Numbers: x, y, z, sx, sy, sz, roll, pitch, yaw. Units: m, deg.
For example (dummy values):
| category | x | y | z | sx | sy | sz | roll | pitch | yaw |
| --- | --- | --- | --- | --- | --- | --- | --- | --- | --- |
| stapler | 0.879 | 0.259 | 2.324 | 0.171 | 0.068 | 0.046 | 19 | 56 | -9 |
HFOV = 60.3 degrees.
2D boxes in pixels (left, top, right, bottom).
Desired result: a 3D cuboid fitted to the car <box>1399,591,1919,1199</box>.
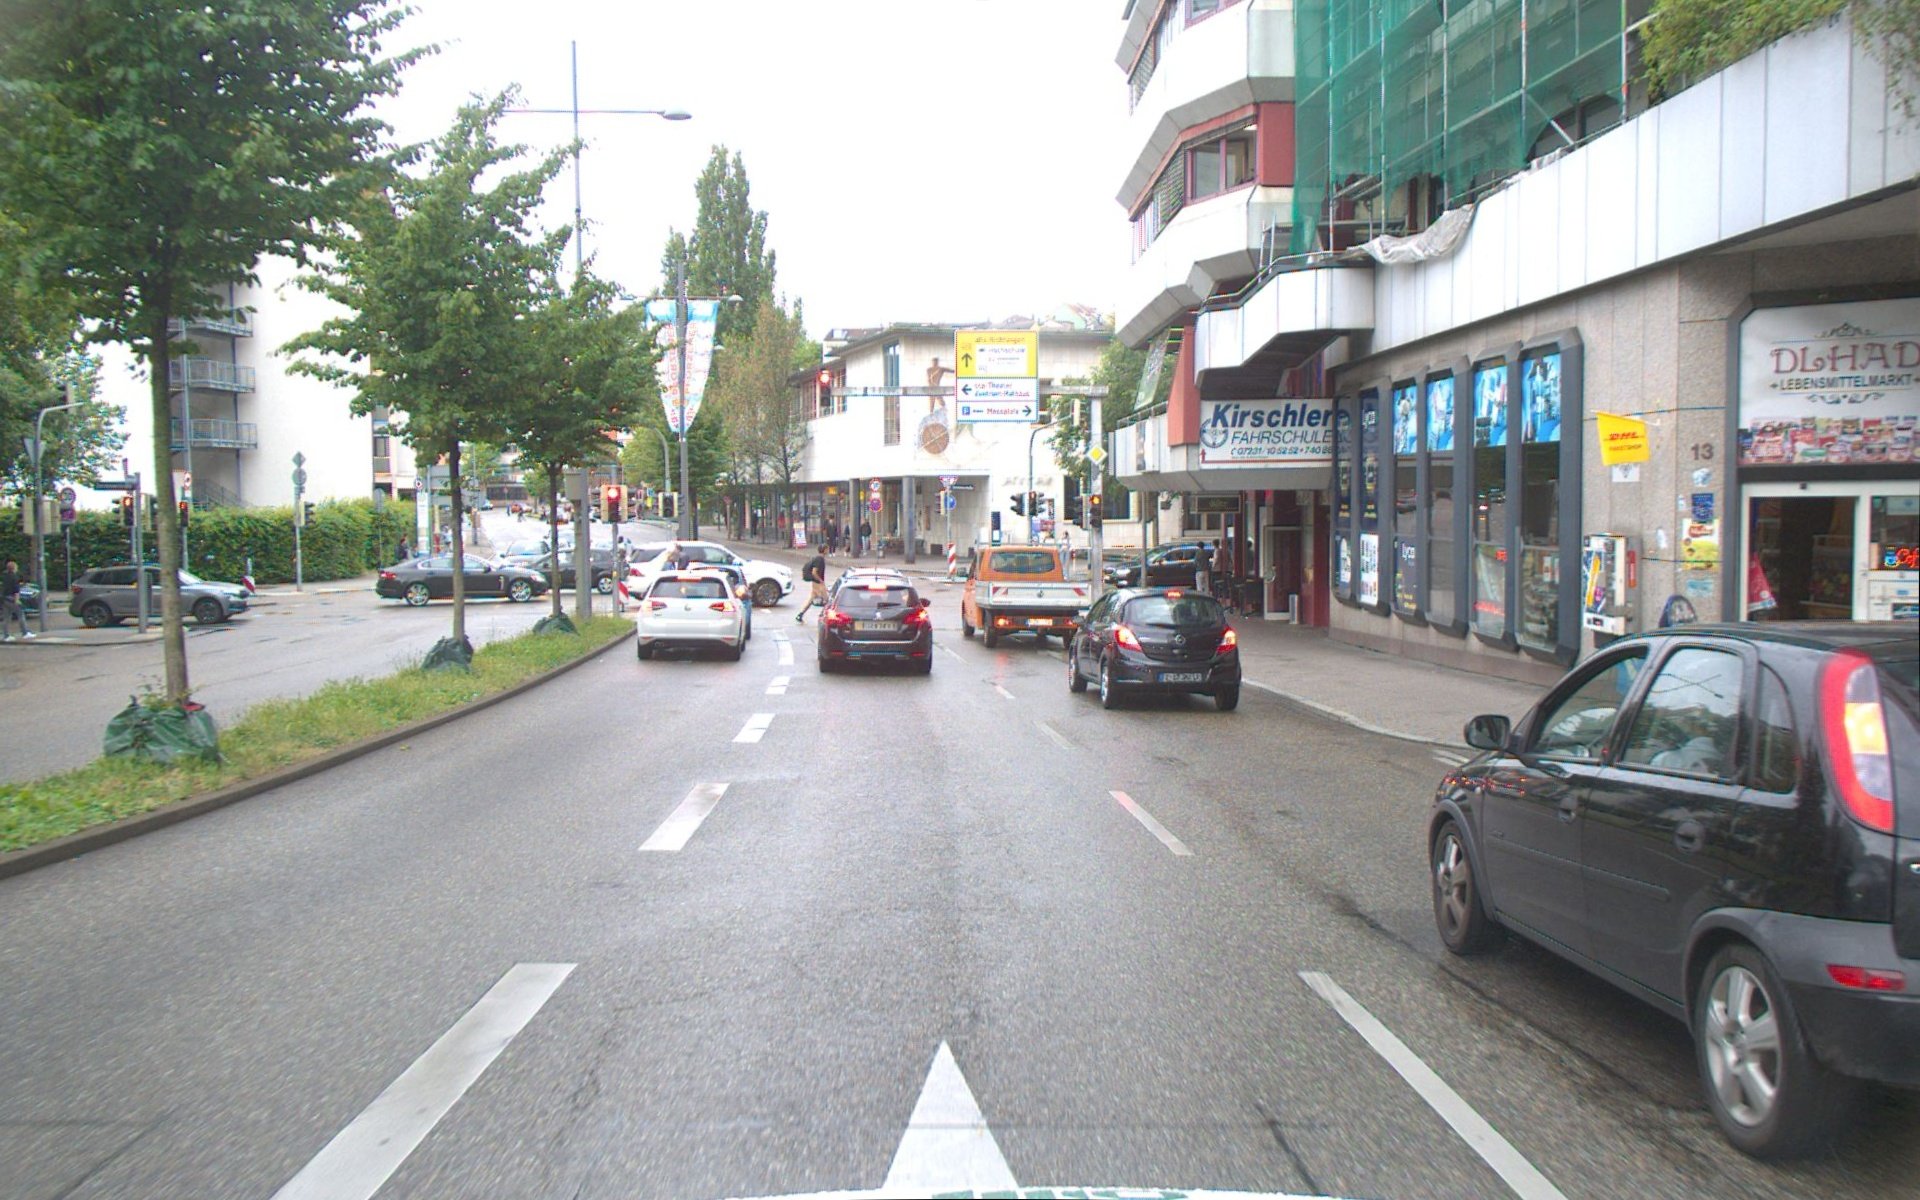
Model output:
| category | x | y | z | sx | sy | sz | roll | pitch | yaw |
| --- | --- | --- | --- | --- | --- | --- | --- | --- | --- |
| car | 2.913 | 0.714 | 5.808 | 1.682 | 1.445 | 3.769 | -1 | 1 | -1 |

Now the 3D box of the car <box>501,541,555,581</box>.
| category | x | y | z | sx | sy | sz | roll | pitch | yaw |
| --- | --- | --- | --- | --- | --- | --- | --- | --- | --- |
| car | -16.589 | -1.479 | 63.648 | 1.675 | 1.476 | 3.853 | -1 | 1 | -10 |

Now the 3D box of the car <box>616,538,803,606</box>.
| category | x | y | z | sx | sy | sz | roll | pitch | yaw |
| --- | --- | --- | --- | --- | --- | --- | --- | --- | --- |
| car | -6.997 | -0.765 | 46.122 | 4.987 | 1.790 | 1.992 | 1 | 0 | -15 |

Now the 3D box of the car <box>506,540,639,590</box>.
| category | x | y | z | sx | sy | sz | roll | pitch | yaw |
| --- | --- | --- | --- | --- | --- | --- | --- | --- | --- |
| car | -12.355 | -1.116 | 52.883 | 3.911 | 1.554 | 1.845 | -1 | 1 | -7 |

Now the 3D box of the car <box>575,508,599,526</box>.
| category | x | y | z | sx | sy | sz | roll | pitch | yaw |
| --- | --- | --- | --- | --- | --- | --- | --- | --- | --- |
| car | -36.253 | -8.047 | 160.749 | 1.963 | 1.624 | 3.980 | -1 | 1 | -18 |

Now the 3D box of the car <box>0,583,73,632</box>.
| category | x | y | z | sx | sy | sz | roll | pitch | yaw |
| --- | --- | --- | --- | --- | --- | --- | --- | --- | --- |
| car | -26.857 | 0.180 | 44.530 | 4.914 | 1.294 | 1.758 | 1 | 0 | -15 |

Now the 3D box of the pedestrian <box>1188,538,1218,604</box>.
| category | x | y | z | sx | sy | sz | roll | pitch | yaw |
| --- | --- | --- | --- | --- | --- | --- | --- | --- | --- |
| pedestrian | 6.535 | -0.778 | 44.464 | 0.565 | 1.729 | 0.649 | -2 | 1 | -12 |

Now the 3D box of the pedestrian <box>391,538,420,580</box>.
| category | x | y | z | sx | sy | sz | roll | pitch | yaw |
| --- | --- | --- | --- | --- | --- | --- | --- | --- | --- |
| pedestrian | -22.277 | -1.644 | 66.445 | 0.919 | 1.636 | 0.554 | -2 | 1 | -44 |

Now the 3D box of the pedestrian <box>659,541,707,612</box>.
| category | x | y | z | sx | sy | sz | roll | pitch | yaw |
| --- | --- | --- | --- | --- | --- | --- | --- | --- | --- |
| pedestrian | -6.959 | -0.592 | 41.614 | 0.989 | 1.752 | 0.838 | -2 | 1 | 2 |

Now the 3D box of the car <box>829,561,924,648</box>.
| category | x | y | z | sx | sy | sz | roll | pitch | yaw |
| --- | --- | --- | --- | --- | --- | --- | --- | --- | --- |
| car | -1.731 | 0.033 | 33.054 | 1.726 | 1.569 | 3.996 | 0 | 2 | -5 |

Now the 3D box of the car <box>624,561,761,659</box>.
| category | x | y | z | sx | sy | sz | roll | pitch | yaw |
| --- | --- | --- | --- | --- | --- | --- | --- | --- | --- |
| car | -4.603 | 0.121 | 28.997 | 1.911 | 1.601 | 3.998 | 0 | 1 | -3 |

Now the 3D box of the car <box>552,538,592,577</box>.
| category | x | y | z | sx | sy | sz | roll | pitch | yaw |
| --- | --- | --- | --- | --- | --- | --- | --- | --- | --- |
| car | -18.258 | -1.987 | 77.929 | 1.675 | 1.750 | 3.989 | -1 | 1 | -11 |

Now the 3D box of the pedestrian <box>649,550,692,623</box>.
| category | x | y | z | sx | sy | sz | roll | pitch | yaw |
| --- | --- | --- | --- | --- | --- | --- | --- | --- | --- |
| pedestrian | -7.110 | -0.330 | 40.664 | 0.818 | 1.752 | 0.819 | -2 | 1 | 4 |

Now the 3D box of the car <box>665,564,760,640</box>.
| category | x | y | z | sx | sy | sz | roll | pitch | yaw |
| --- | --- | --- | --- | --- | --- | --- | --- | --- | --- |
| car | -5.148 | -0.001 | 34.792 | 1.759 | 1.493 | 3.996 | 0 | 1 | -6 |

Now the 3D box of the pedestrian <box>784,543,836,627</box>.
| category | x | y | z | sx | sy | sz | roll | pitch | yaw |
| --- | --- | --- | --- | --- | --- | --- | --- | --- | --- |
| pedestrian | -3.509 | -0.362 | 38.704 | 1.040 | 1.914 | 0.839 | -2 | 1 | 4 |

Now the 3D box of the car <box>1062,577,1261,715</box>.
| category | x | y | z | sx | sy | sz | roll | pitch | yaw |
| --- | --- | --- | --- | --- | --- | --- | --- | --- | --- |
| car | 2.514 | 0.510 | 21.572 | 1.911 | 1.601 | 3.998 | 0 | 1 | -3 |

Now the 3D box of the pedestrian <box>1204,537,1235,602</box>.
| category | x | y | z | sx | sy | sz | roll | pitch | yaw |
| --- | --- | --- | --- | --- | --- | --- | --- | --- | --- |
| pedestrian | 7.050 | -0.830 | 44.991 | 0.566 | 1.729 | 0.648 | -2 | 1 | -17 |

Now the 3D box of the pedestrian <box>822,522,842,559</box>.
| category | x | y | z | sx | sy | sz | roll | pitch | yaw |
| --- | --- | --- | --- | --- | --- | --- | --- | --- | --- |
| pedestrian | -6.591 | -3.049 | 84.980 | 0.786 | 1.834 | 0.913 | -2 | 1 | -17 |

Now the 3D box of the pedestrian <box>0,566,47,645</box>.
| category | x | y | z | sx | sy | sz | roll | pitch | yaw |
| --- | --- | --- | --- | --- | --- | --- | --- | --- | --- |
| pedestrian | -21.410 | 0.123 | 37.397 | 0.796 | 1.738 | 1.053 | -1 | 1 | 36 |

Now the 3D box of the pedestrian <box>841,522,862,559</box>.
| category | x | y | z | sx | sy | sz | roll | pitch | yaw |
| --- | --- | --- | --- | --- | --- | --- | --- | --- | --- |
| pedestrian | -5.580 | -3.060 | 84.856 | 0.833 | 1.834 | 1.051 | -2 | 1 | -17 |

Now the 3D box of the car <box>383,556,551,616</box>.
| category | x | y | z | sx | sy | sz | roll | pitch | yaw |
| --- | --- | --- | --- | --- | --- | --- | --- | --- | --- |
| car | -14.373 | -0.395 | 48.362 | 4.608 | 1.672 | 1.778 | 1 | 0 | -17 |

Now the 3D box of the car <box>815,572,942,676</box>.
| category | x | y | z | sx | sy | sz | roll | pitch | yaw |
| --- | --- | --- | --- | --- | --- | --- | --- | --- | --- |
| car | -1.384 | 0.328 | 26.634 | 1.777 | 1.466 | 3.995 | 1 | 2 | -7 |

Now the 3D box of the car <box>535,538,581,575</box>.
| category | x | y | z | sx | sy | sz | roll | pitch | yaw |
| --- | --- | --- | --- | --- | --- | --- | --- | --- | --- |
| car | -17.291 | -1.862 | 71.263 | 1.746 | 1.576 | 3.989 | -1 | 1 | -11 |

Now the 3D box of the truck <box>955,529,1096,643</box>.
| category | x | y | z | sx | sy | sz | roll | pitch | yaw |
| --- | --- | --- | --- | --- | --- | --- | --- | --- | --- |
| truck | 1.232 | -0.322 | 33.888 | 2.141 | 2.119 | 5.597 | -1 | 1 | -6 |

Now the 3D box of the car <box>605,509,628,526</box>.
| category | x | y | z | sx | sy | sz | roll | pitch | yaw |
| --- | --- | --- | --- | --- | --- | --- | --- | --- | --- |
| car | -33.831 | -8.104 | 162.842 | 1.802 | 1.616 | 3.856 | -1 | 1 | -17 |

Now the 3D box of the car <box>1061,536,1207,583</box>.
| category | x | y | z | sx | sy | sz | roll | pitch | yaw |
| --- | --- | --- | --- | --- | --- | --- | --- | --- | --- |
| car | 5.667 | -1.312 | 53.877 | 4.328 | 1.462 | 1.990 | -1 | 1 | -18 |

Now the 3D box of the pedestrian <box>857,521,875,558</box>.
| category | x | y | z | sx | sy | sz | roll | pitch | yaw |
| --- | --- | --- | --- | --- | --- | --- | --- | --- | --- |
| pedestrian | -4.845 | -3.103 | 85.215 | 0.691 | 1.834 | 0.934 | -2 | 1 | -17 |

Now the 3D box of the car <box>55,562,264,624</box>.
| category | x | y | z | sx | sy | sz | roll | pitch | yaw |
| --- | --- | --- | --- | --- | --- | --- | --- | --- | --- |
| car | -20.539 | -0.177 | 42.623 | 4.515 | 1.508 | 1.934 | 1 | 0 | -15 |

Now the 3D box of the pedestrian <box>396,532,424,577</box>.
| category | x | y | z | sx | sy | sz | roll | pitch | yaw |
| --- | --- | --- | --- | --- | --- | --- | --- | --- | --- |
| pedestrian | -22.590 | -1.863 | 67.934 | 0.899 | 1.834 | 0.617 | -2 | 1 | -44 |
